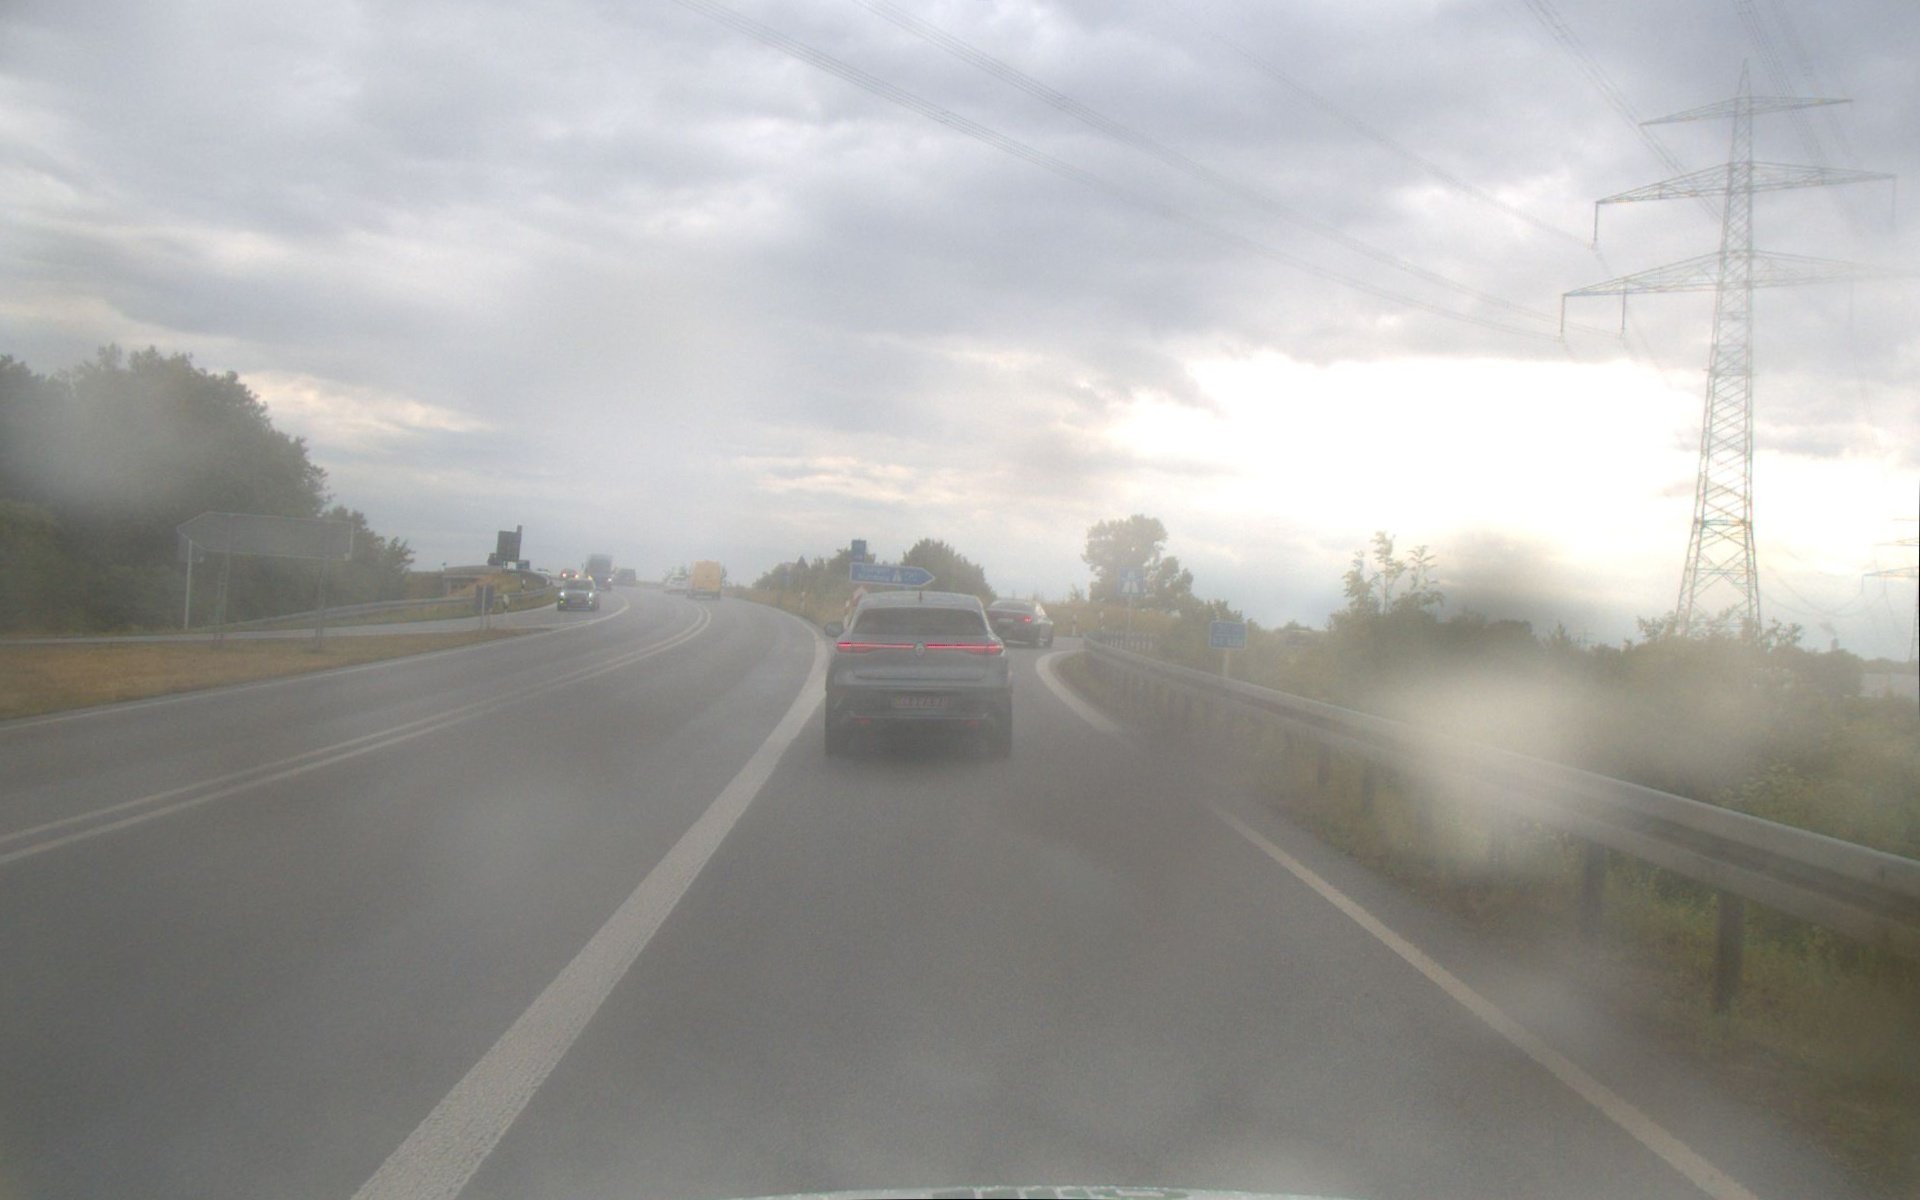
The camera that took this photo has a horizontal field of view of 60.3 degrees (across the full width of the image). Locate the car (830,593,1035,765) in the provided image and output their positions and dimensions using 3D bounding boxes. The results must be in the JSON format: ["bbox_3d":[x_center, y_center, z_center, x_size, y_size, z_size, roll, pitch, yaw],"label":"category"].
[{"bbox_3d":[-0.337,0.723,16.371,1.756,1.466,3.997,1,-1,-3],"label":"car"}]

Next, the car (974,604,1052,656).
[{"bbox_3d":[1.774,0.944,53.835,1.754,1.466,4.003,5,1,12],"label":"car"}]

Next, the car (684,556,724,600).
[{"bbox_3d":[-17.518,-1.451,113.559,2.525,2.773,7.182,2,-1,-8],"label":"car"}]

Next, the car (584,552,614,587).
[{"bbox_3d":[-29.533,-2.471,135.392,2.310,2.748,6.974,1,0,-12],"label":"car"}]

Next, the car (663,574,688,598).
[{"bbox_3d":[-22.643,-1.111,131.398,1.760,1.717,3.987,2,-2,-12],"label":"car"}]

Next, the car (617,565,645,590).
[{"bbox_3d":[-34.552,-2.366,173.725,2.558,2.290,5.513,2,-2,-14],"label":"car"}]

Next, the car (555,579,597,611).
[{"bbox_3d":[-17.610,-0.211,75.907,1.713,1.389,4.038,-2,0,-12],"label":"car"}]
